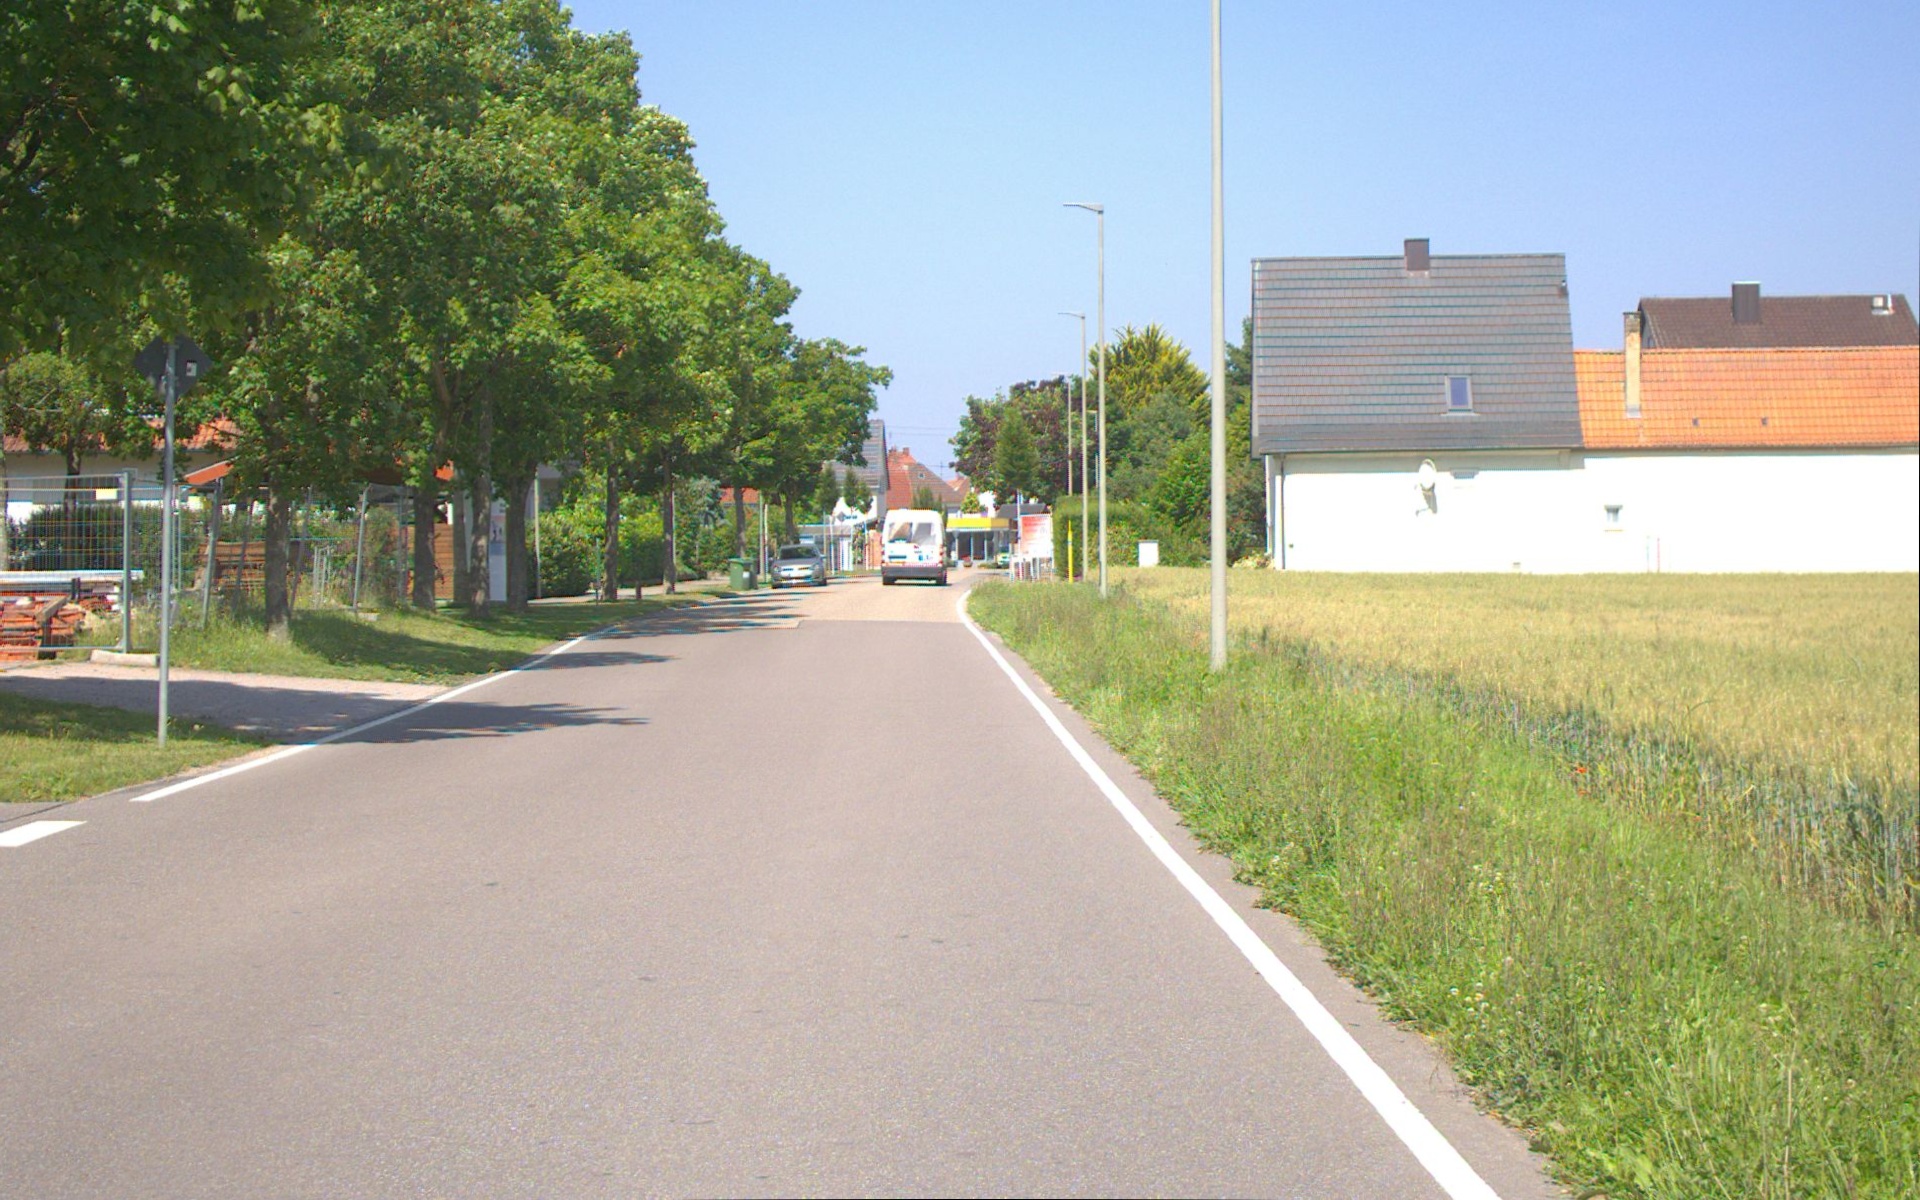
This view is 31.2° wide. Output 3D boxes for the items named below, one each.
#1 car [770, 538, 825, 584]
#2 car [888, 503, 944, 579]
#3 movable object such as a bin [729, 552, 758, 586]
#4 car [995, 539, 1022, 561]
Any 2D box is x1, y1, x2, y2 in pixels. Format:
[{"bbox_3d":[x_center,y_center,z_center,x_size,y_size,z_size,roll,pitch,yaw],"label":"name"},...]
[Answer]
[{"bbox_3d":[-5.468,-1.315,115.826,1.647,1.419,4.080,-3,1,-1],"label":"car"},{"bbox_3d":[-1.422,-1.923,113.032,1.737,2.424,4.374,-1,1,0],"label":"car"},{"bbox_3d":[-6.951,-0.992,110.370,0.714,1.075,0.639,-1,1,26],"label":"movable object such as a bin"},{"bbox_3d":[3.427,-3.560,243.859,1.666,1.519,3.443,-2,1,-2],"label":"car"}]
